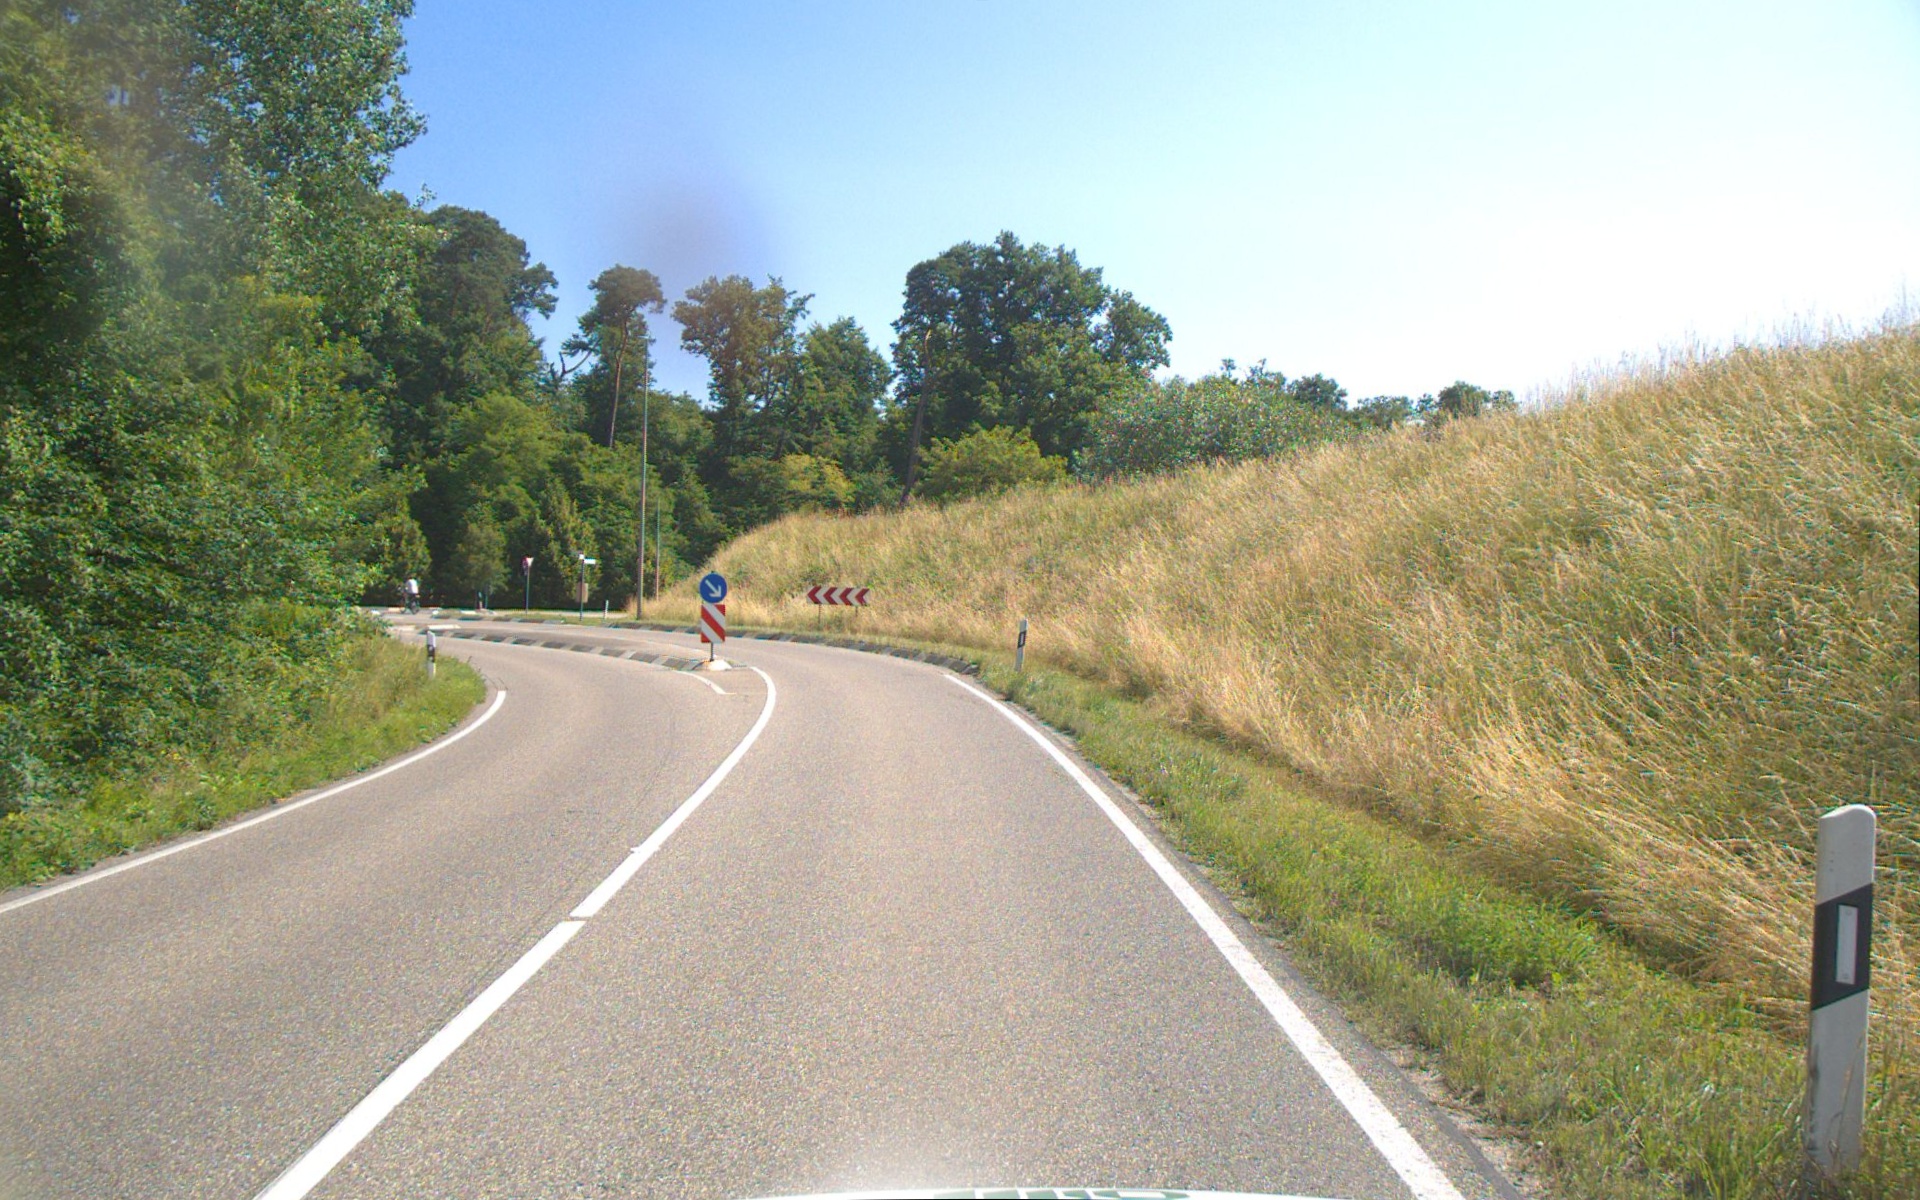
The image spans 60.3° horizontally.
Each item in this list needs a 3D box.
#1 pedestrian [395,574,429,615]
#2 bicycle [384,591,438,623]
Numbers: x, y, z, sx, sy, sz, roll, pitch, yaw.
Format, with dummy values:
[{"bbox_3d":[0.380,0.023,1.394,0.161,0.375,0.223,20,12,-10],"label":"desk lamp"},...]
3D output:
[{"bbox_3d":[-27.912,-0.275,84.304,1.120,2.049,1.258,0,0,38],"label":"pedestrian"},{"bbox_3d":[-28.009,0.334,84.368,3.140,1.615,1.180,0,0,41],"label":"bicycle"}]
